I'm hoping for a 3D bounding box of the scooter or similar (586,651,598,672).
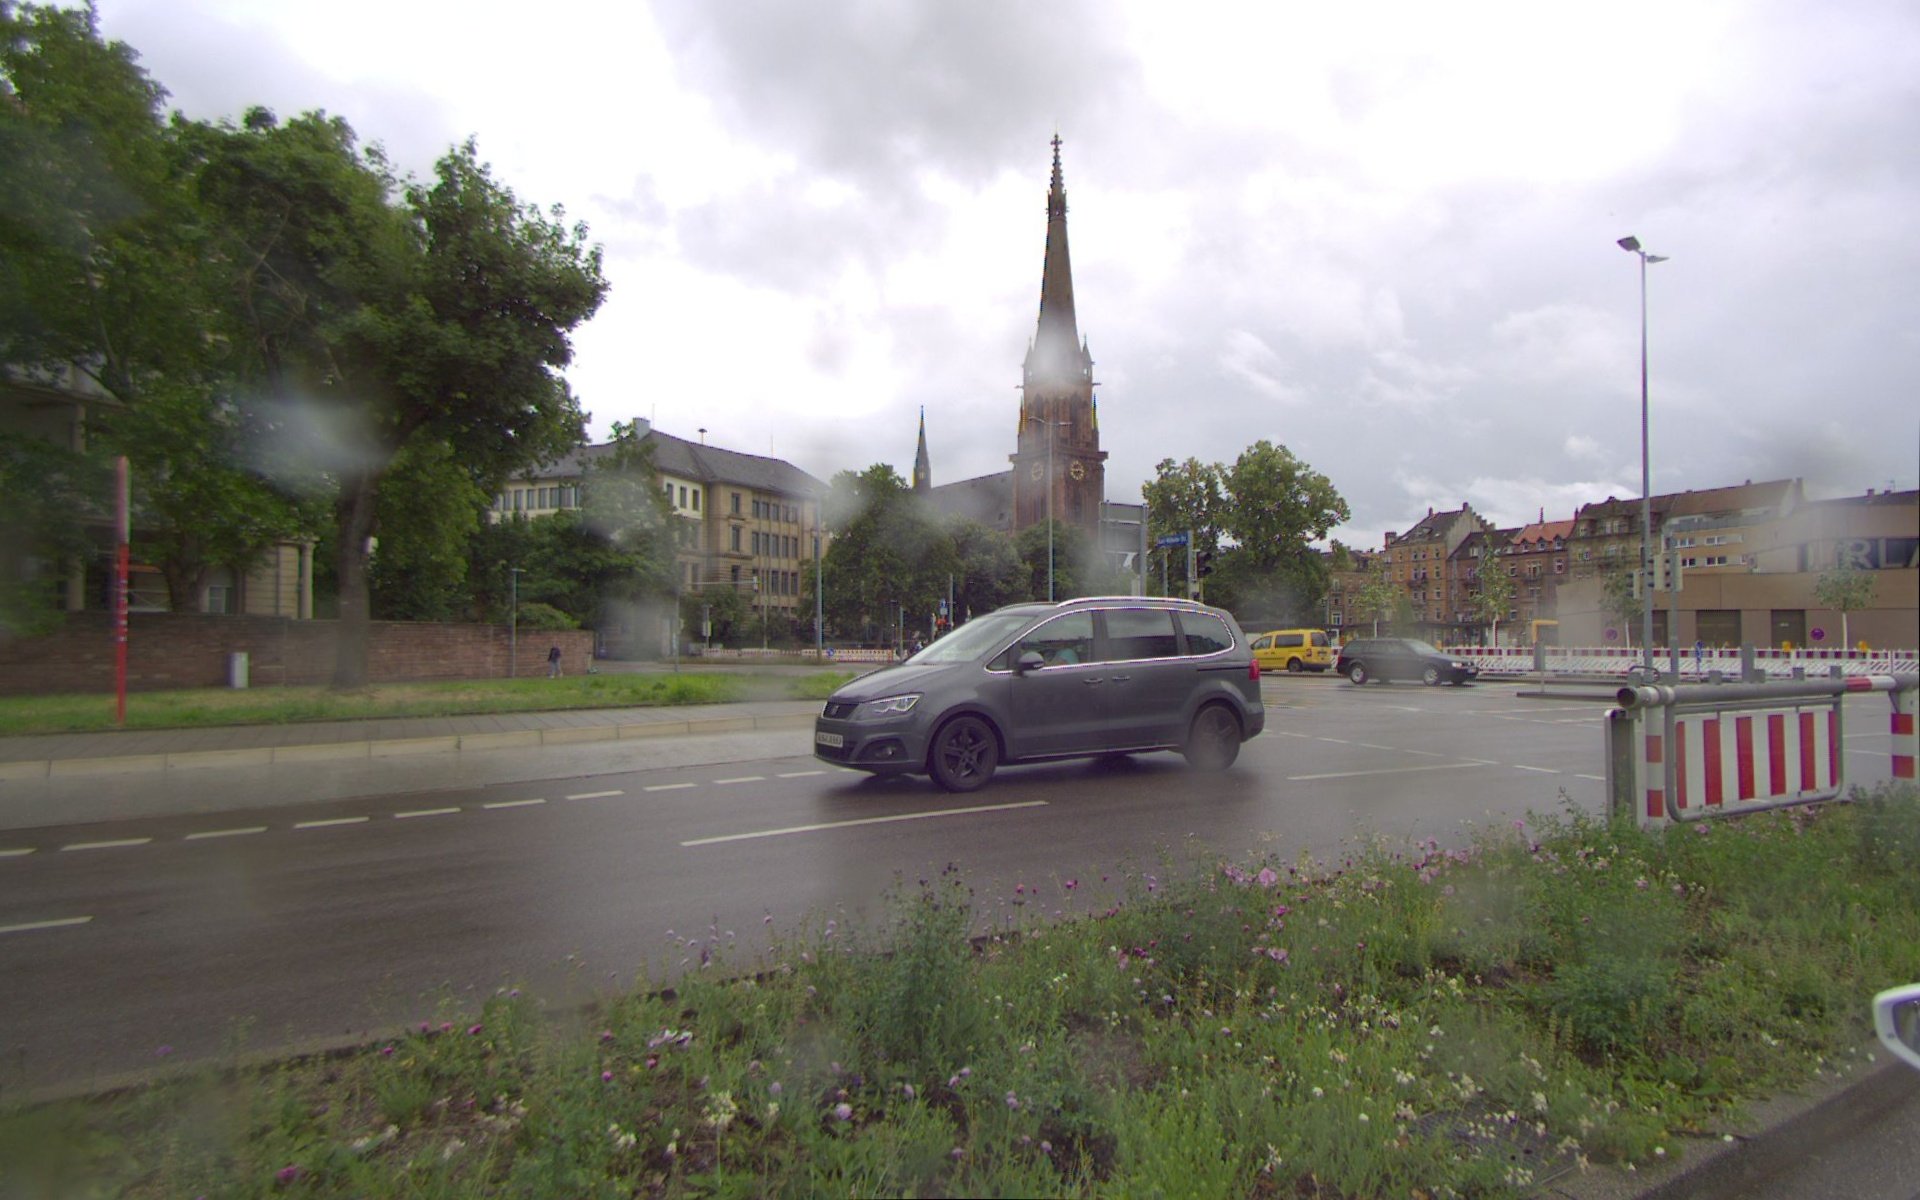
[{"bbox_3d":[-19.408,3.251,52.961,0.274,1.096,1.078,0,-2,-4],"label":"scooter or similar"}]

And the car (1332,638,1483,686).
[{"bbox_3d":[14.159,1.919,31.973,1.602,1.420,4.163,1,-2,-36],"label":"car"}]

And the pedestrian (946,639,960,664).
[{"bbox_3d":[-0.479,3.653,71.444,0.765,1.801,0.720,1,-2,-30],"label":"pedestrian"}]

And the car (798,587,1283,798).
[{"bbox_3d":[0.908,0.816,10.079,4.712,1.700,1.764,1,-2,-30],"label":"car"}]

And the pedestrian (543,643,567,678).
[{"bbox_3d":[-18.096,2.691,44.894,0.661,1.520,0.775,0,-2,5],"label":"pedestrian"}]

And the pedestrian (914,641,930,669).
[{"bbox_3d":[-2.824,4.060,74.334,0.945,2.040,0.852,1,-2,-30],"label":"pedestrian"}]

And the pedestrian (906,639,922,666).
[{"bbox_3d":[-3.445,3.924,75.209,0.945,2.040,0.852,1,-2,-30],"label":"pedestrian"}]

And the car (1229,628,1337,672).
[{"bbox_3d":[13.392,2.043,41.826,1.695,1.728,4.109,1,-2,-37],"label":"car"}]
